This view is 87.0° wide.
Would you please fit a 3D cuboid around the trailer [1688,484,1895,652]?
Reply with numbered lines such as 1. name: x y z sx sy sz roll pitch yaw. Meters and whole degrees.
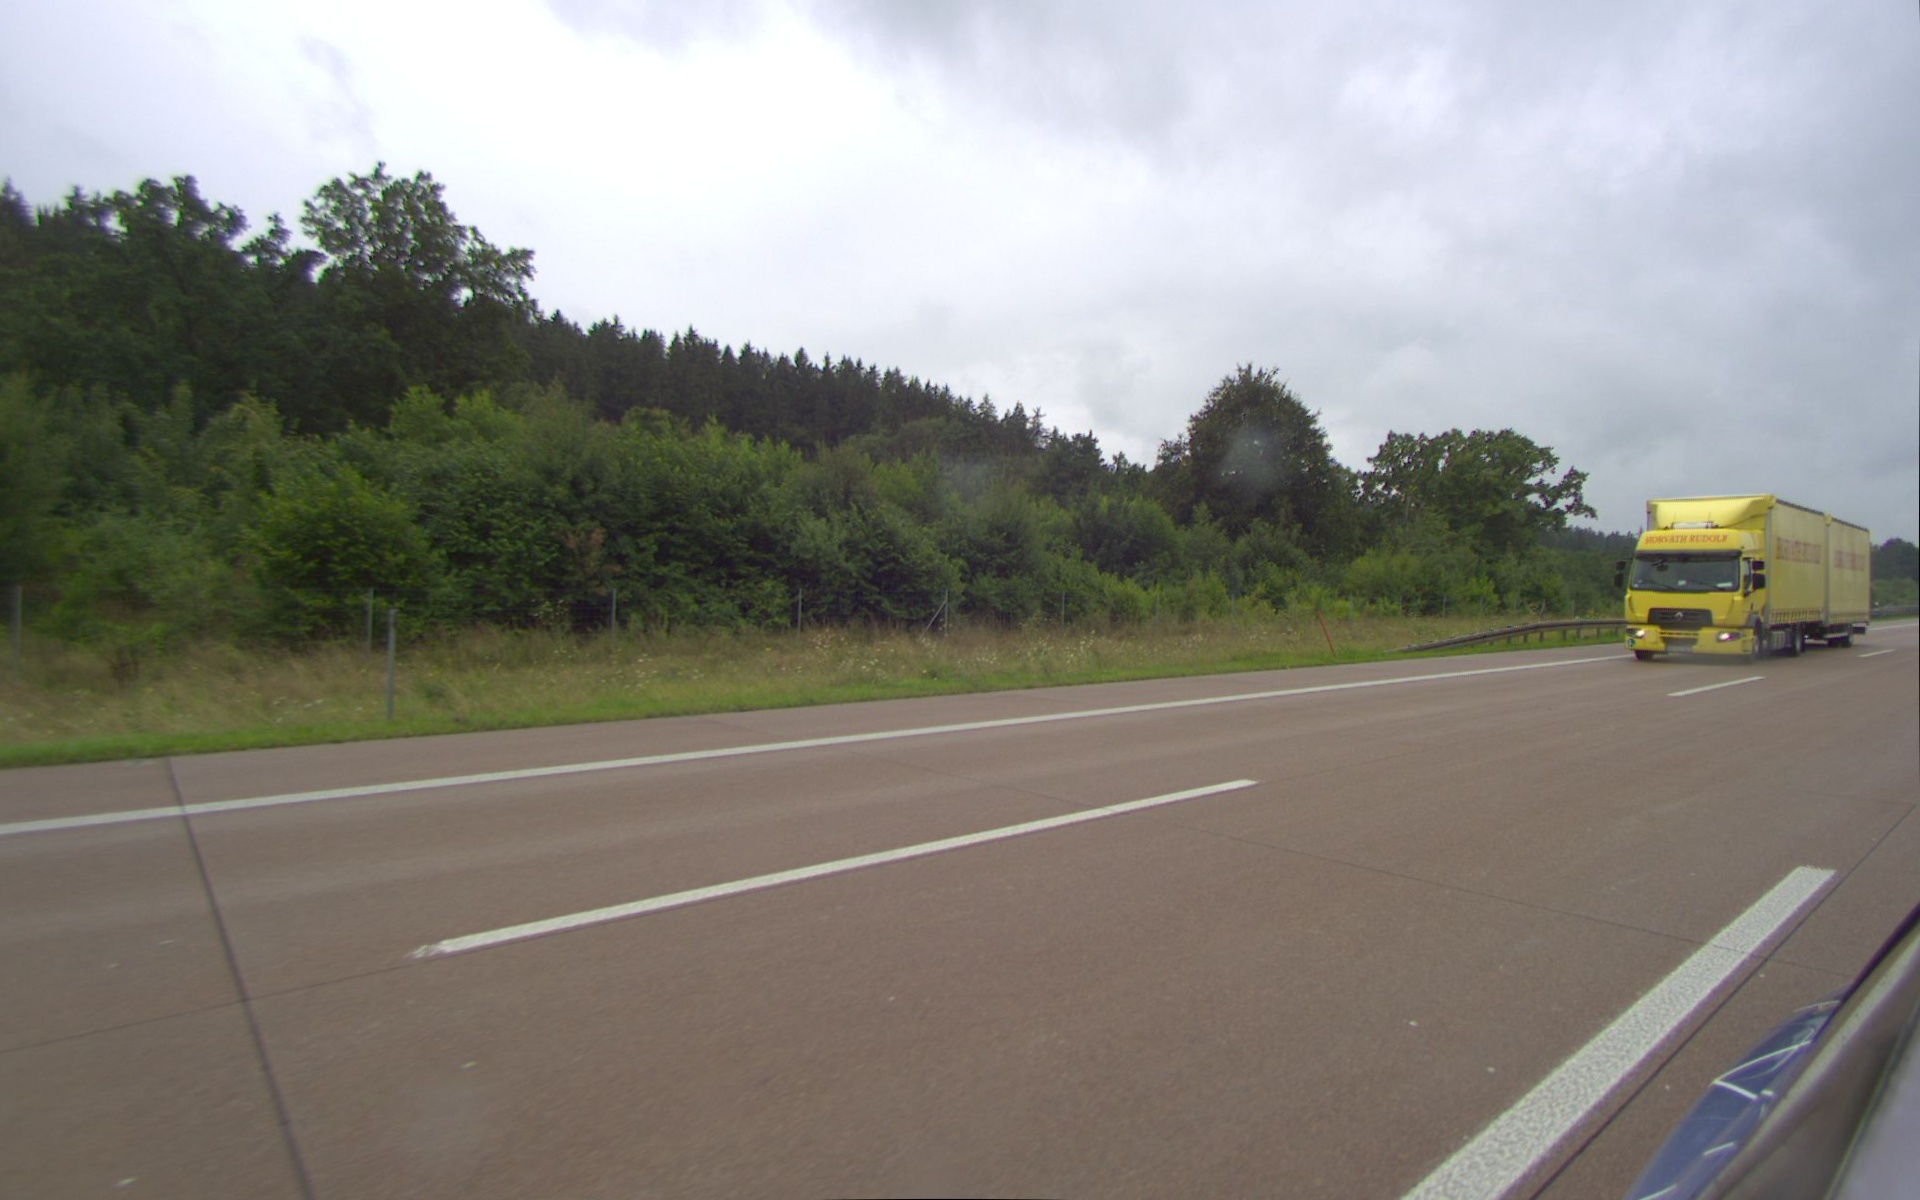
1. trailer: 26.068 -0.907 31.297 13.832 4.281 2.570 -1 0 -41

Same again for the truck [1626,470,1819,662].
1. truck: 19.335 -0.797 25.534 6.140 4.267 2.608 -1 0 -40
